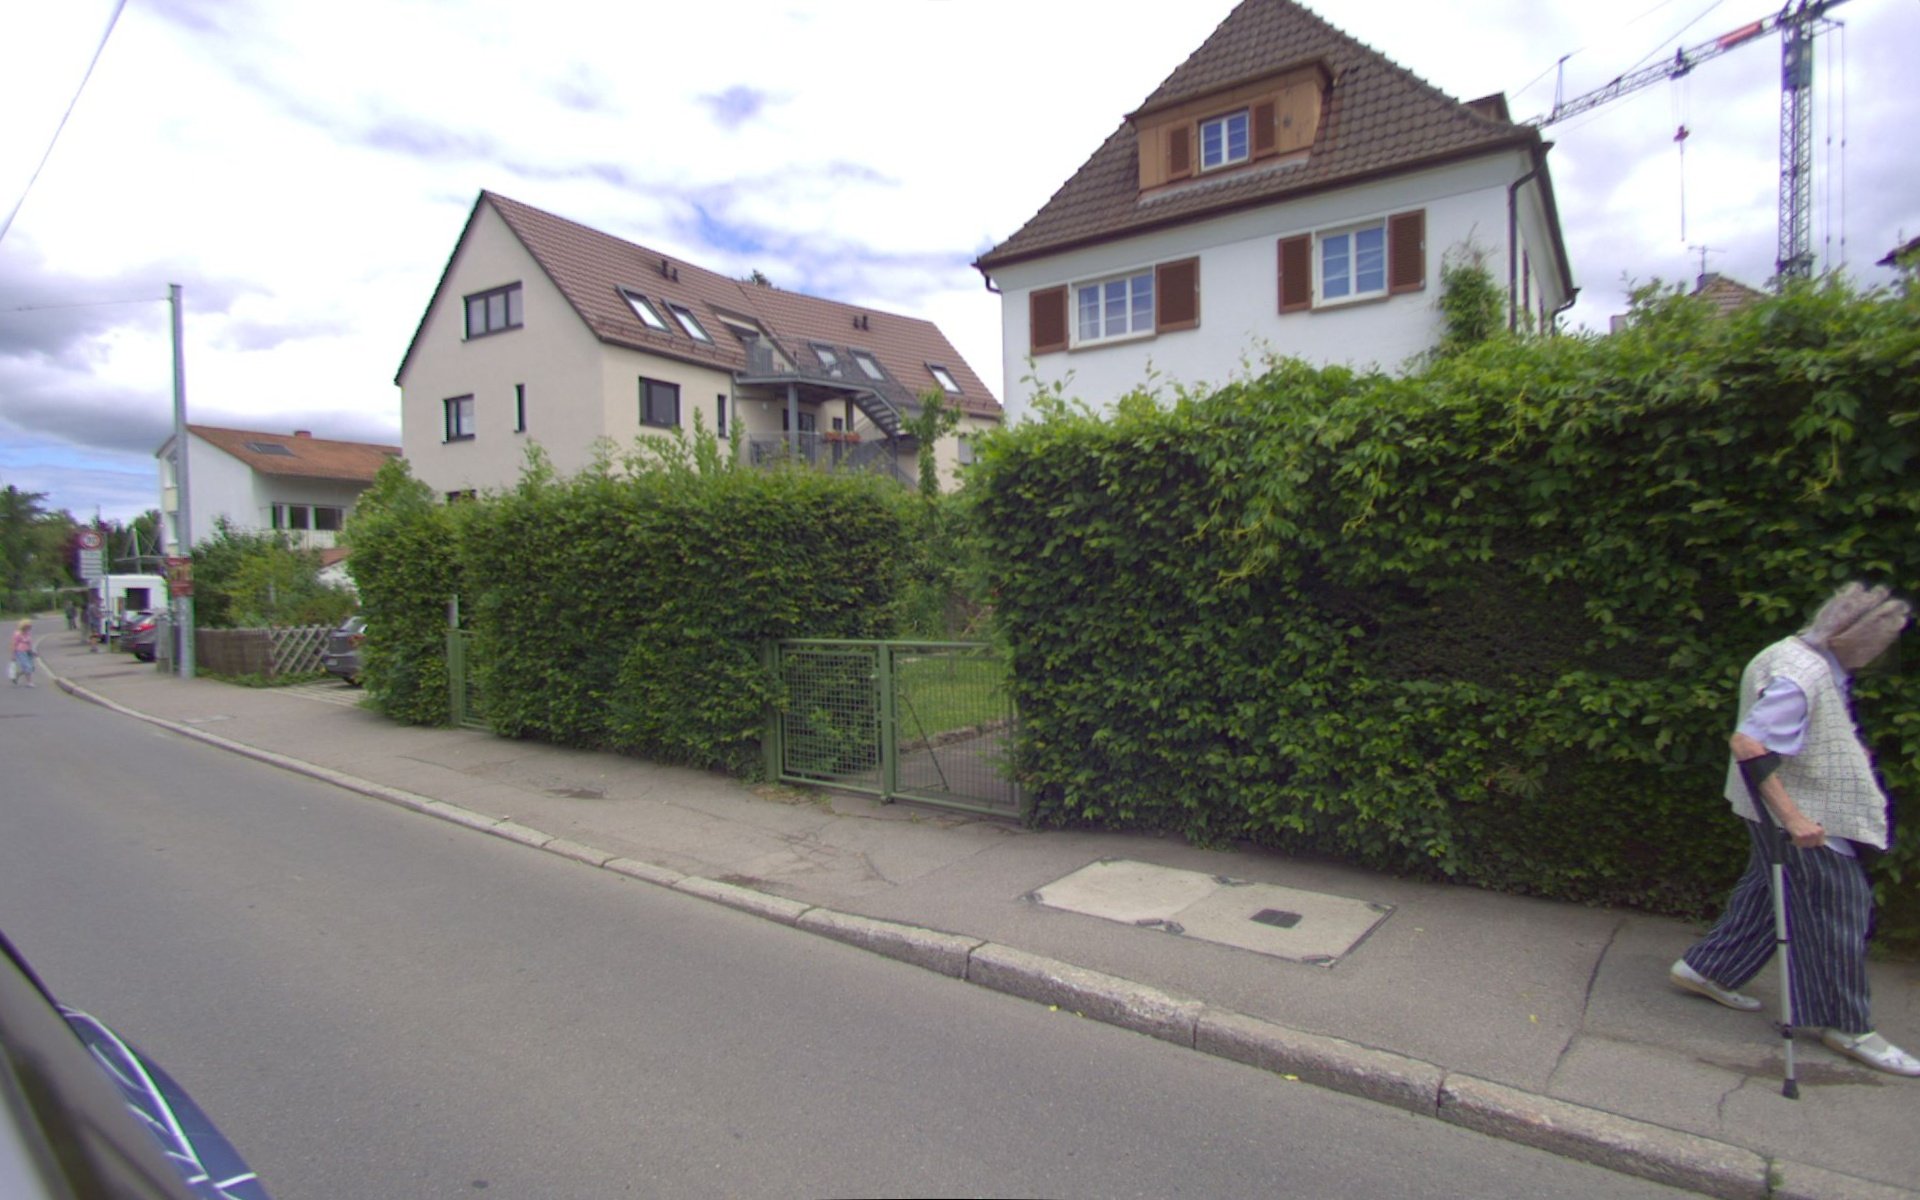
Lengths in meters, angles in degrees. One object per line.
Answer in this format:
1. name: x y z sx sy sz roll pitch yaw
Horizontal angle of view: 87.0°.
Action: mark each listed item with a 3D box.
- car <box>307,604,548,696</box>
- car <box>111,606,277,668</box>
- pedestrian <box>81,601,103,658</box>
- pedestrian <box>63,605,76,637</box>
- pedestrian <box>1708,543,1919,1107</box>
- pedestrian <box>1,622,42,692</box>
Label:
1. car: -10.194 0.891 19.554 1.775 1.504 3.712 -1 0 41
2. car: -24.540 1.141 32.507 1.884 1.741 3.946 -1 0 41
3. pedestrian: -30.246 1.026 35.254 0.528 1.966 0.528 -2 0 -41
4. pedestrian: -55.420 1.326 62.985 0.519 1.966 0.537 -2 0 -41
5. pedestrian: 2.745 0.610 3.114 0.541 1.542 0.743 -2 1 26
6. pedestrian: -22.309 1.343 24.058 0.608 1.611 0.612 -2 0 38
